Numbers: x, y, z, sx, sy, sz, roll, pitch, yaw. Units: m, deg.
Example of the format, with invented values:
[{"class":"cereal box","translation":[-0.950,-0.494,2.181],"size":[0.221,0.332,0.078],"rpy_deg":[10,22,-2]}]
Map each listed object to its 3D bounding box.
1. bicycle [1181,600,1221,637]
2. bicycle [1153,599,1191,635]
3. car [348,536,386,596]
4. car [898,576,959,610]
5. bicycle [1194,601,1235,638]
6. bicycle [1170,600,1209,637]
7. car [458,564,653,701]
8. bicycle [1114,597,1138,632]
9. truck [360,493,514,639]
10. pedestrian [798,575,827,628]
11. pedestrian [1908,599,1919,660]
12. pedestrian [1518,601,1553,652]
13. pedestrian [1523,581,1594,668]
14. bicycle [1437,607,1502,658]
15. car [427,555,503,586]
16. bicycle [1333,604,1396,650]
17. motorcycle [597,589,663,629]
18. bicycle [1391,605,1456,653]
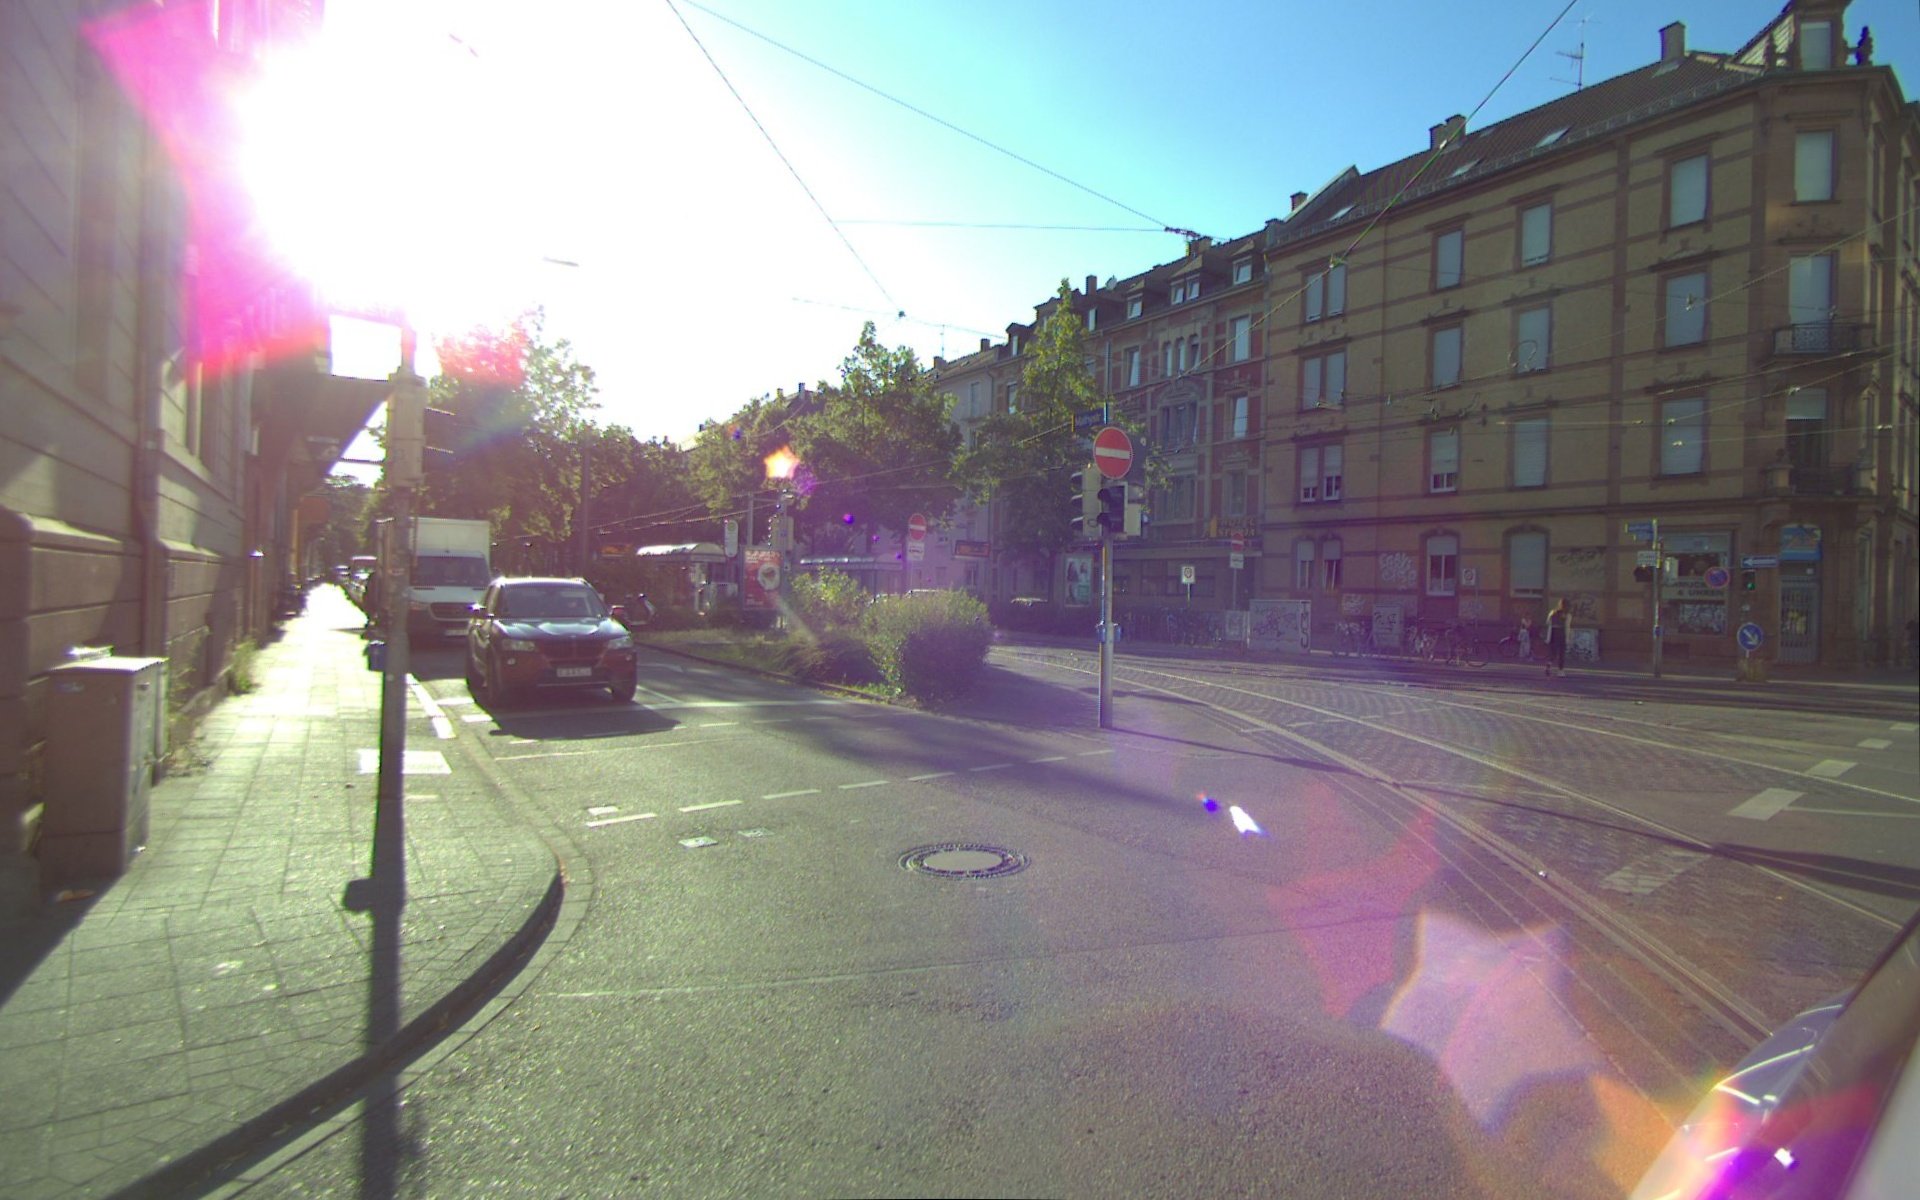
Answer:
[{"class":"bicycle","translation":[8.054,0.611,33.860],"size":[0.489,1.121,1.804],"rpy_deg":[3,1,-13]},{"class":"bicycle","translation":[7.038,0.557,33.693],"size":[0.489,1.121,1.804],"rpy_deg":[3,1,-13]},{"class":"car","translation":[-36.924,-2.132,62.961],"size":[1.906,3.513,5.706],"rpy_deg":[1,1,-31]},{"class":"car","translation":[-1.998,-0.430,62.803],"size":[1.937,1.841,3.986],"rpy_deg":[5,-1,-31]},{"class":"bicycle","translation":[8.531,0.635,34.006],"size":[0.489,1.121,1.804],"rpy_deg":[3,1,-13]},{"class":"bicycle","translation":[7.641,0.599,33.767],"size":[0.489,1.121,1.804],"rpy_deg":[3,1,-13]},{"class":"car","translation":[-5.953,0.356,14.576],"size":[1.906,1.652,4.276],"rpy_deg":[1,1,-31]},{"class":"bicycle","translation":[5.587,0.476,34.102],"size":[0.491,1.121,1.799],"rpy_deg":[3,1,2]},{"class":"truck","translation":[-13.389,-0.810,25.539],"size":[2.286,3.119,8.084],"rpy_deg":[1,1,-36]},{"class":"pedestrian","translation":[-5.923,0.048,40.590],"size":[0.846,2.038,0.607],"rpy_deg":[5,0,-29]},{"class":"pedestrian","translation":[27.961,0.887,29.138],"size":[0.741,1.744,0.777],"rpy_deg":[3,2,-39]},{"class":"pedestrian","translation":[18.764,0.844,32.993],"size":[0.749,1.590,0.745],"rpy_deg":[-2,2,-33]},{"class":"pedestrian","translation":[13.322,0.543,22.522],"size":[1.065,1.829,1.024],"rpy_deg":[3,1,-43]},{"class":"bicycle","translation":[13.671,0.882,27.147],"size":[1.800,1.279,0.756],"rpy_deg":[3,1,-36]},{"class":"car","translation":[-33.584,-2.026,68.774],"size":[4.190,1.949,1.946],"rpy_deg":[2,1,-1]},{"class":"bicycle","translation":[11.873,0.792,29.694],"size":[1.930,1.279,0.756],"rpy_deg":[3,1,-36]},{"class":"motorcycle","translation":[-9.700,0.261,29.797],"size":[1.723,1.032,0.607],"rpy_deg":[-5,5,-36]},{"class":"bicycle","translation":[13.026,0.821,28.402],"size":[1.930,1.279,0.756],"rpy_deg":[3,1,-36]}]
